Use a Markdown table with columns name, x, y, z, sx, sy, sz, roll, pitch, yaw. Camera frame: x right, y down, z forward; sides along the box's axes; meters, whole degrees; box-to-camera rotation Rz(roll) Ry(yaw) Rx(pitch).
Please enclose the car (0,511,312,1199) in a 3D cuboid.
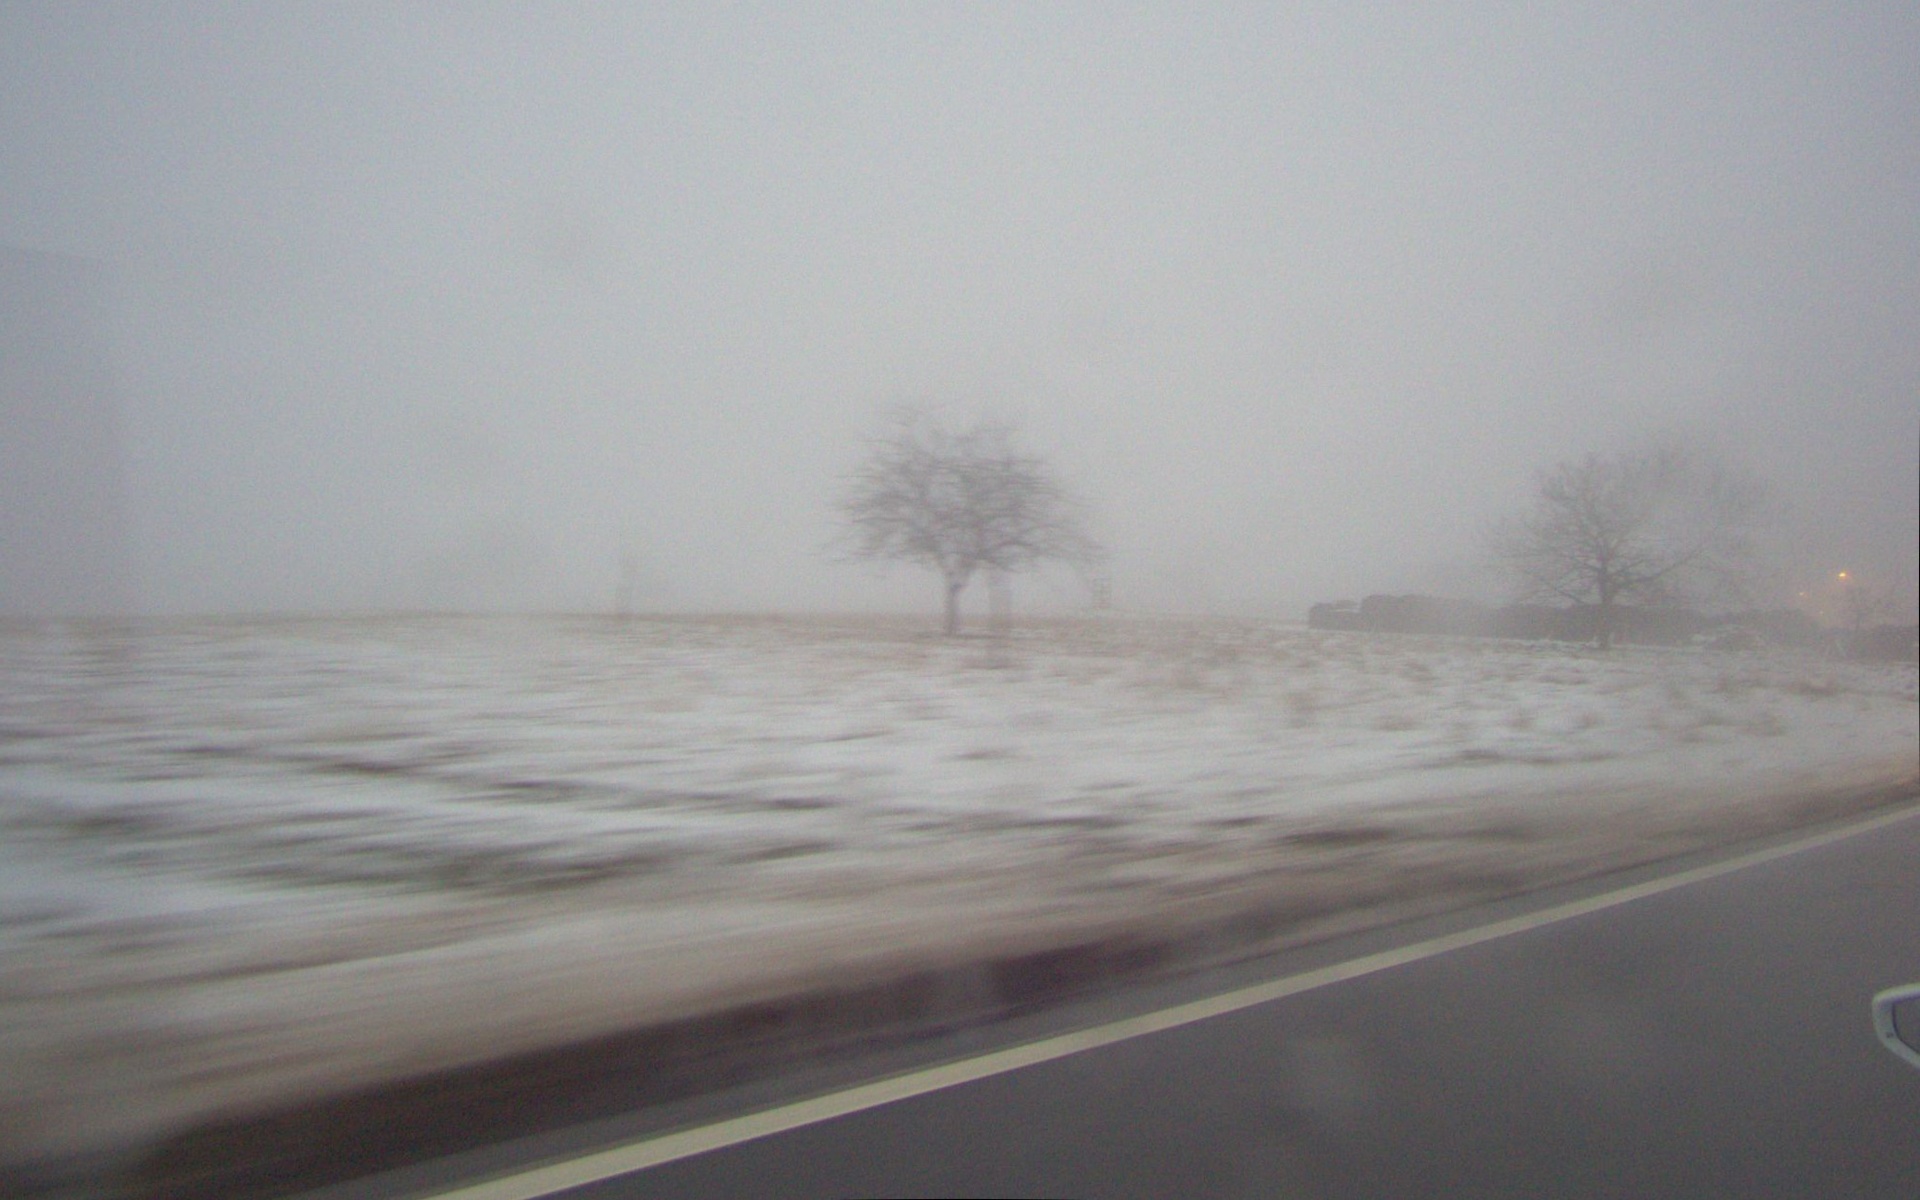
| name | x | y | z | sx | sy | sz | roll | pitch | yaw |
| --- | --- | --- | --- | --- | --- | --- | --- | --- | --- |
| car | -3.486 | 0.521 | 2.382 | 3.011 | 1.528 | 1.518 | 2 | -1 | -24 |
